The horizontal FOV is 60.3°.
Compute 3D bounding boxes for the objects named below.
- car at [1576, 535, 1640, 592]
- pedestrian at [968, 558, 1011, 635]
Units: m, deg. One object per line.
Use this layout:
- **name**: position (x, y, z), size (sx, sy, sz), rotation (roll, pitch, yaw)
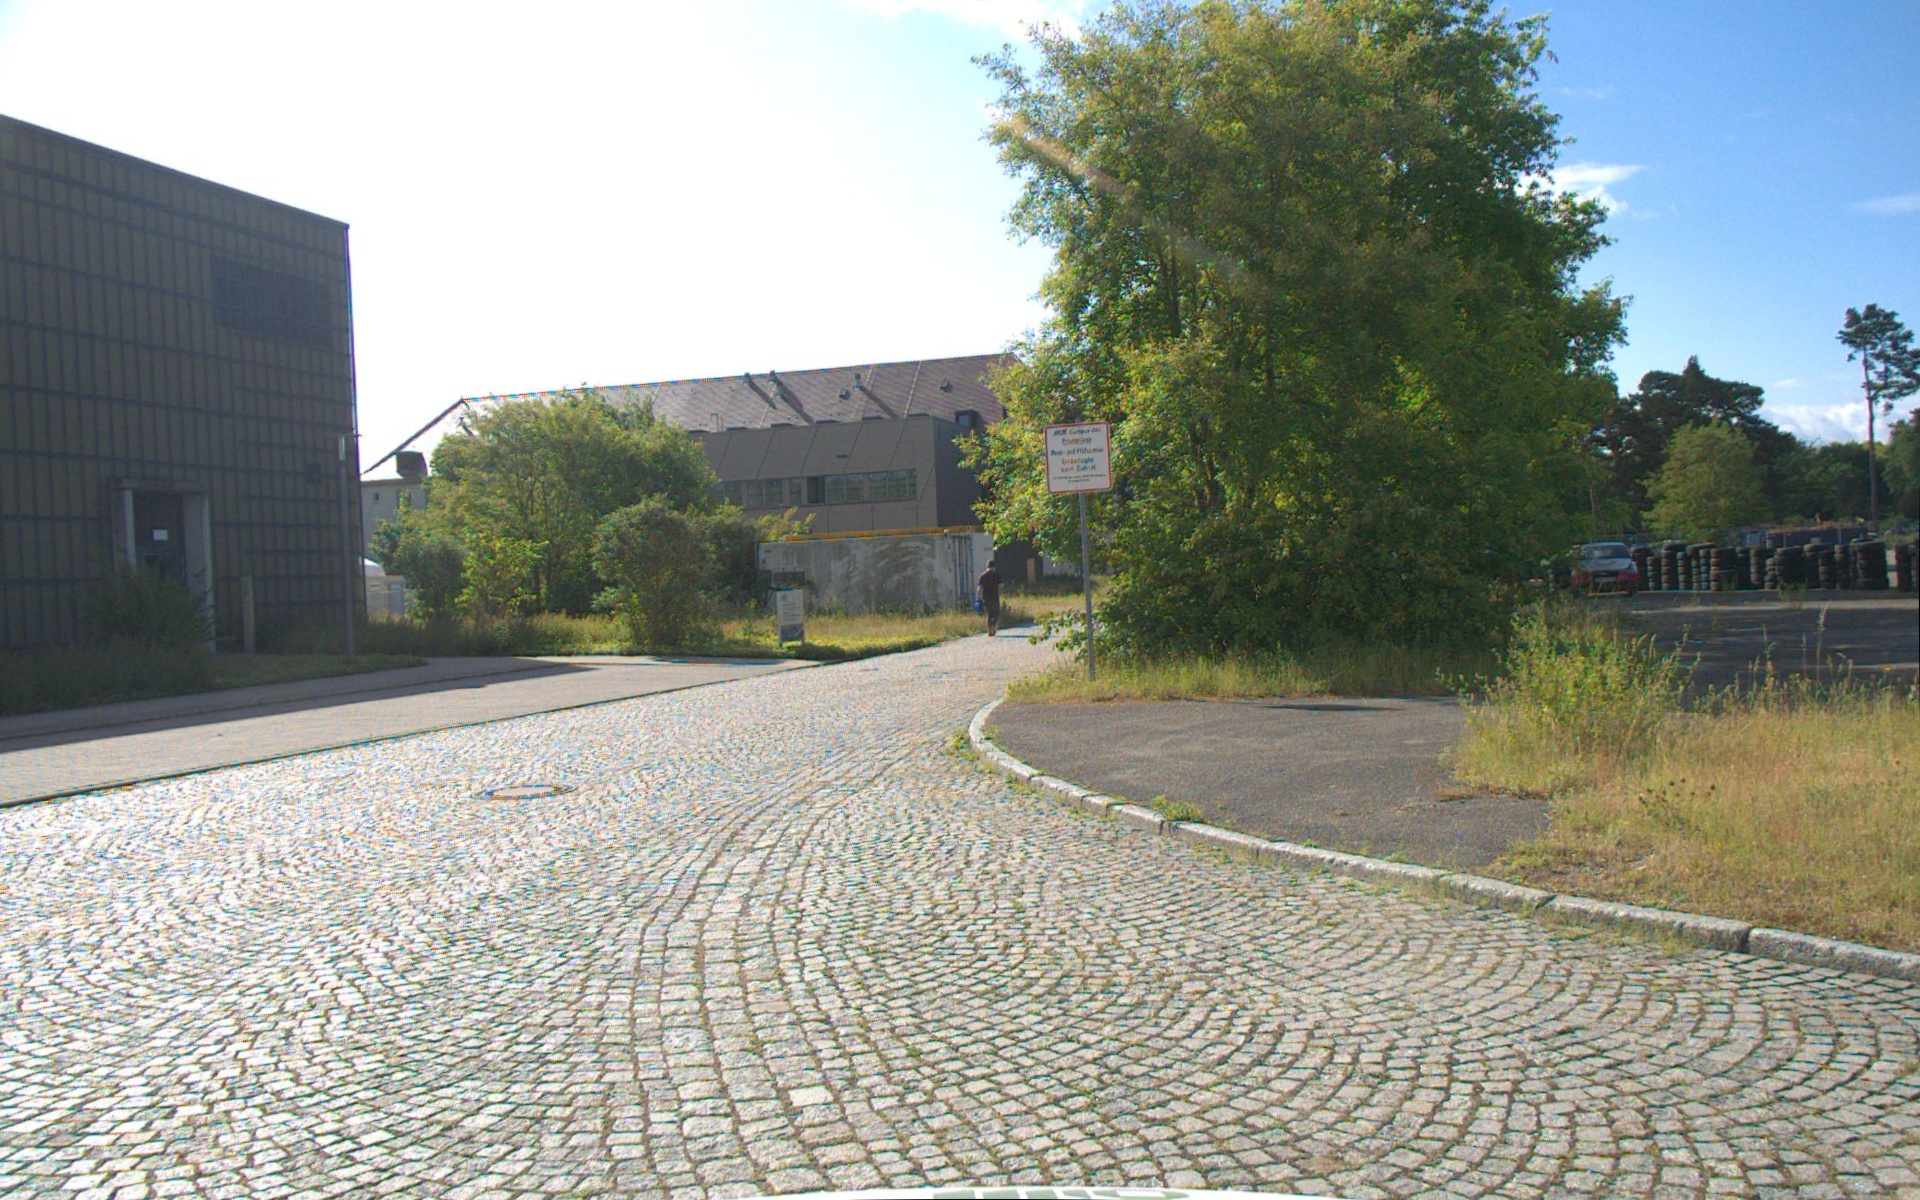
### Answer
- **car**: position (17.681, -1.004, 45.162), size (1.509, 1.431, 3.578), rotation (-2, 1, 21)
- **pedestrian**: position (0.717, -0.097, 40.135), size (0.778, 1.811, 1.069), rotation (-1, 1, 14)
